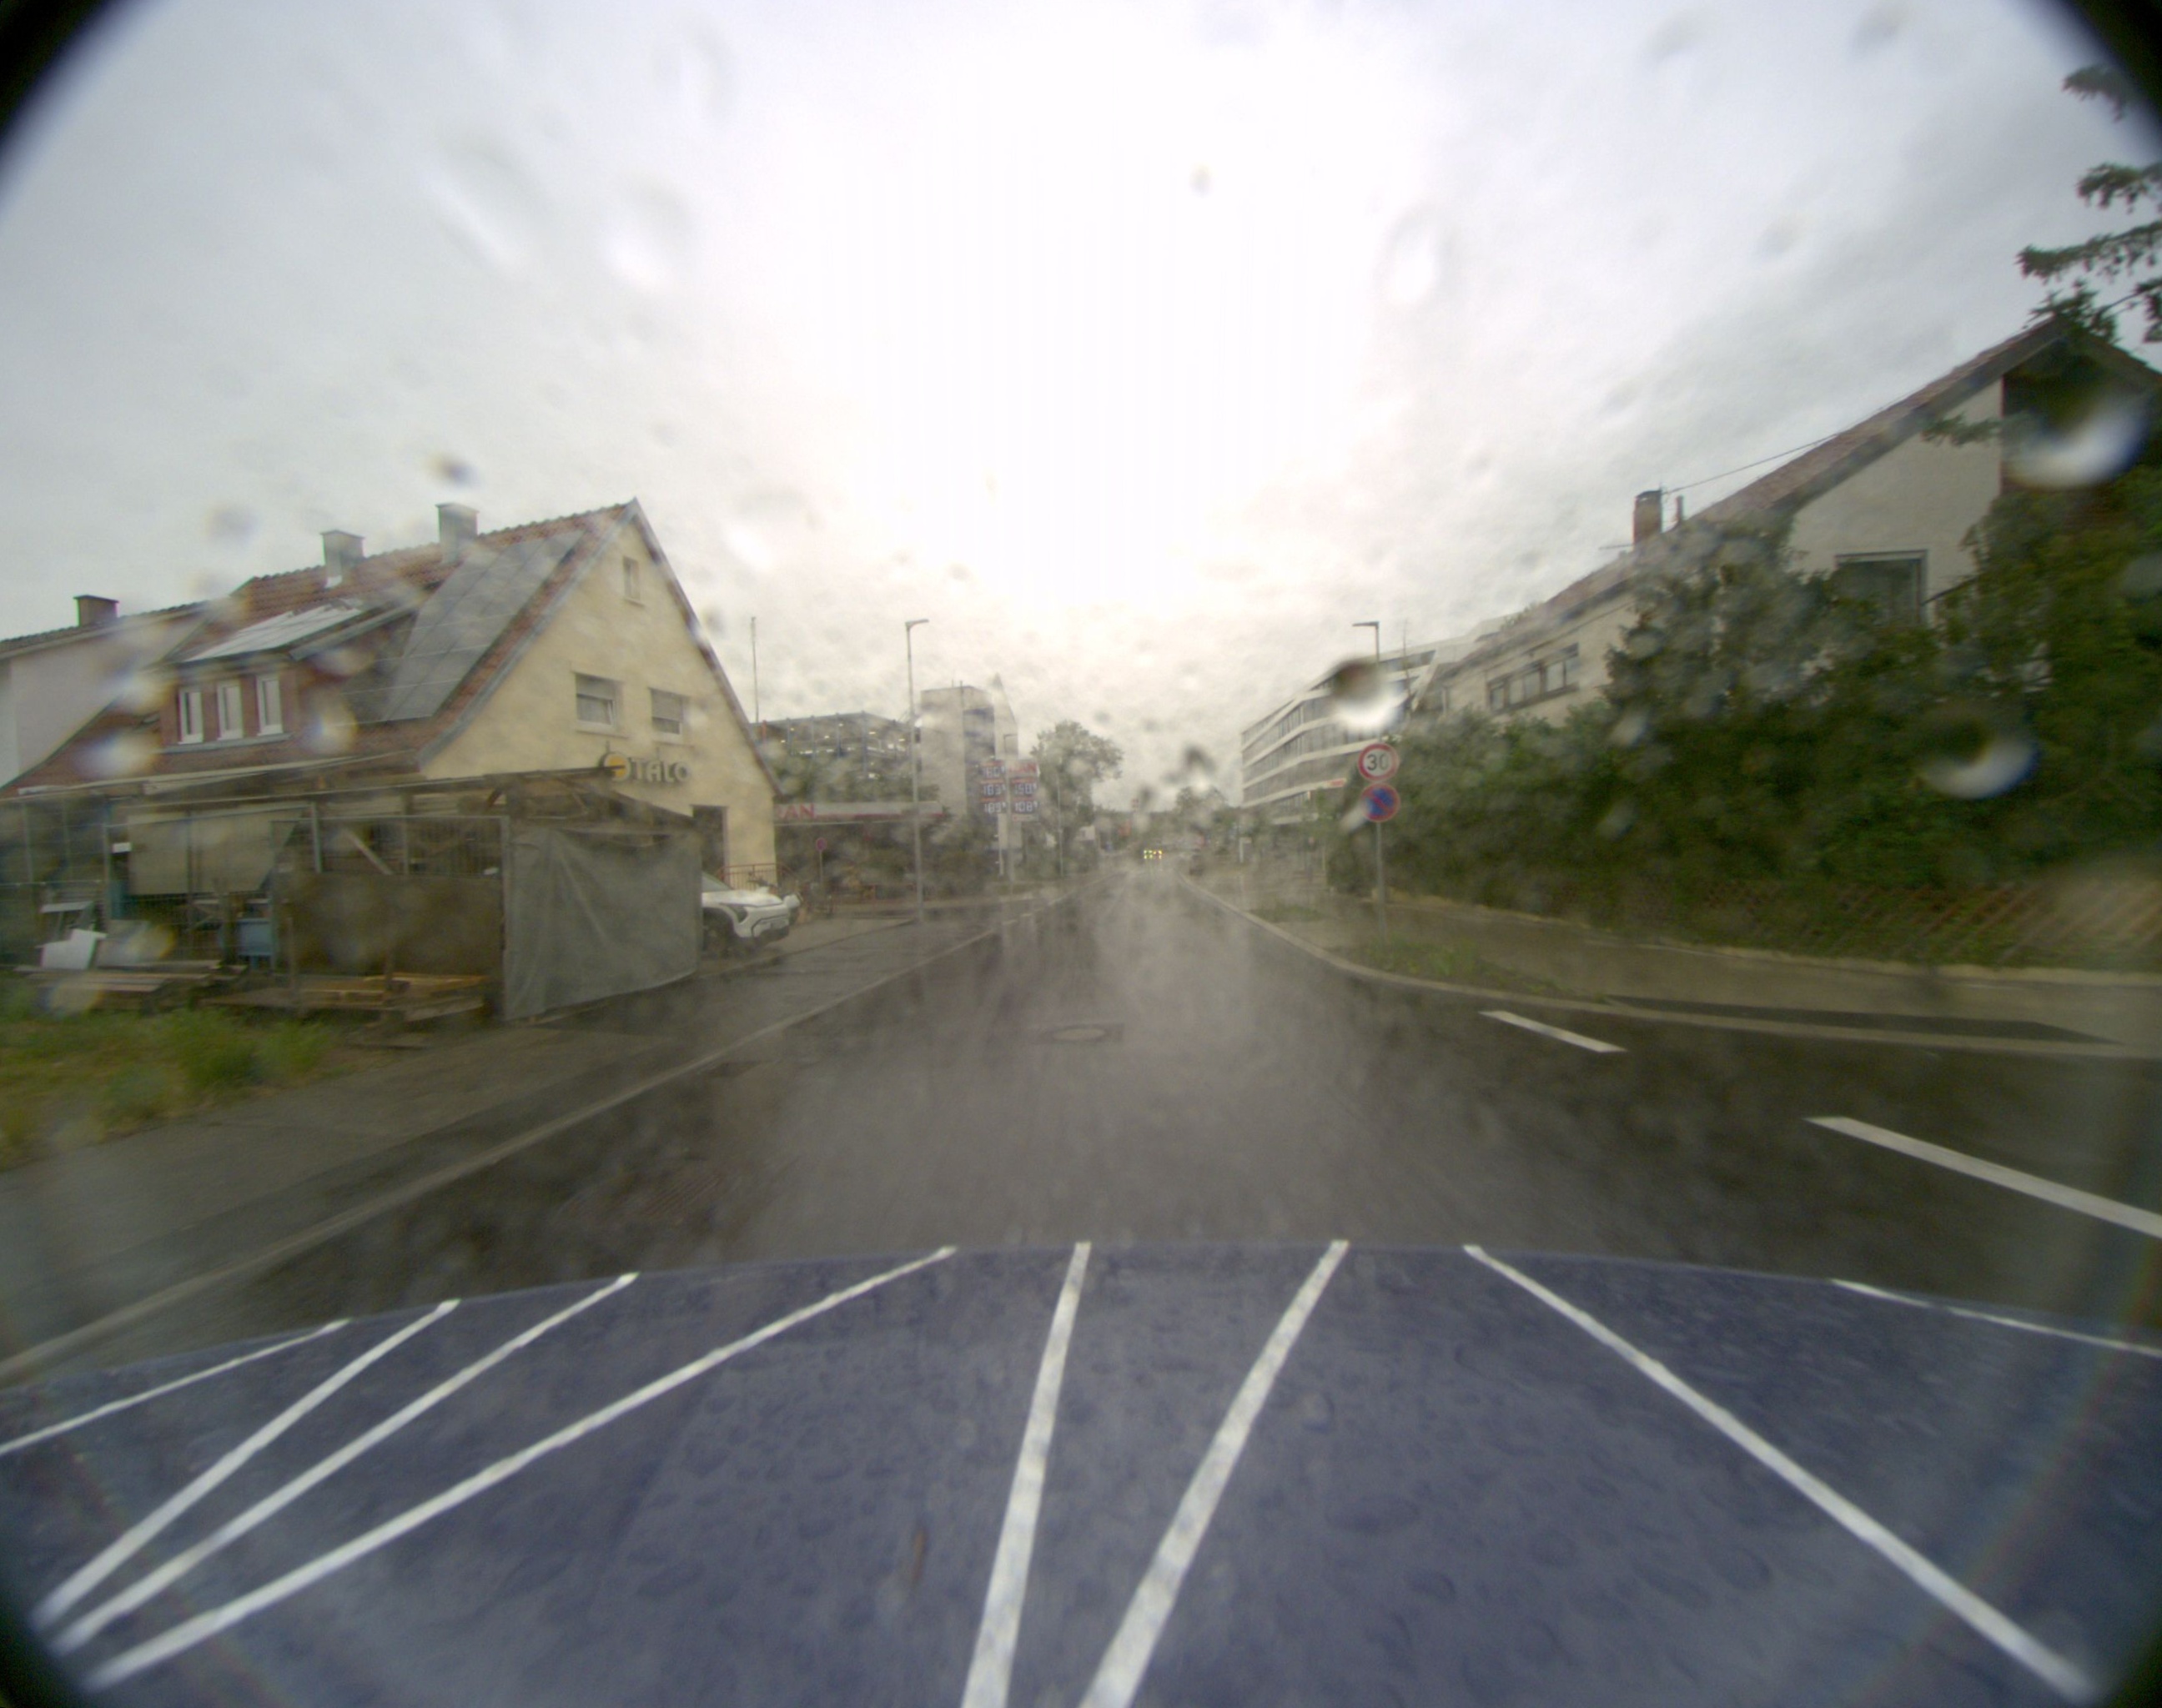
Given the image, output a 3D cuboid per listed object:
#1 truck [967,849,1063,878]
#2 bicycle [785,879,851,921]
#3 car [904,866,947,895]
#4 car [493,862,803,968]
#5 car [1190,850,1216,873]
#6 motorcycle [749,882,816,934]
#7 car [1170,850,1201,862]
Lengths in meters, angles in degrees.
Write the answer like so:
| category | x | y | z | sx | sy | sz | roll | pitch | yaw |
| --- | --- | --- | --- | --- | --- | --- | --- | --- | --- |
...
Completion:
| category | x | y | z | sx | sy | sz | roll | pitch | yaw |
| --- | --- | --- | --- | --- | --- | --- | --- | --- | --- |
| truck | -5.113 | 0.743 | 59.408 | 7.294 | 2.193 | 2.086 | 0 | -2 | 0 |
| bicycle | -7.312 | 1.281 | 21.141 | 1.772 | 1.089 | 0.490 | -3 | 0 | 19 |
| car | -8.404 | 1.405 | 41.319 | 1.694 | 1.332 | 4.338 | -2 | 0 | -4 |
| car | -7.223 | 0.972 | 12.974 | 4.226 | 1.601 | 1.861 | 0 | 1 | 3 |
| car | 9.708 | 0.535 | 60.705 | 1.840 | 1.696 | 4.325 | -2 | 0 | 7 |
| motorcycle | -7.033 | 1.254 | 17.994 | 0.488 | 1.089 | 2.002 | -2 | -1 | 9 |
| car | 14.640 | 0.250 | 106.145 | 4.164 | 1.411 | 2.001 | -4 | 0 | 10 |
